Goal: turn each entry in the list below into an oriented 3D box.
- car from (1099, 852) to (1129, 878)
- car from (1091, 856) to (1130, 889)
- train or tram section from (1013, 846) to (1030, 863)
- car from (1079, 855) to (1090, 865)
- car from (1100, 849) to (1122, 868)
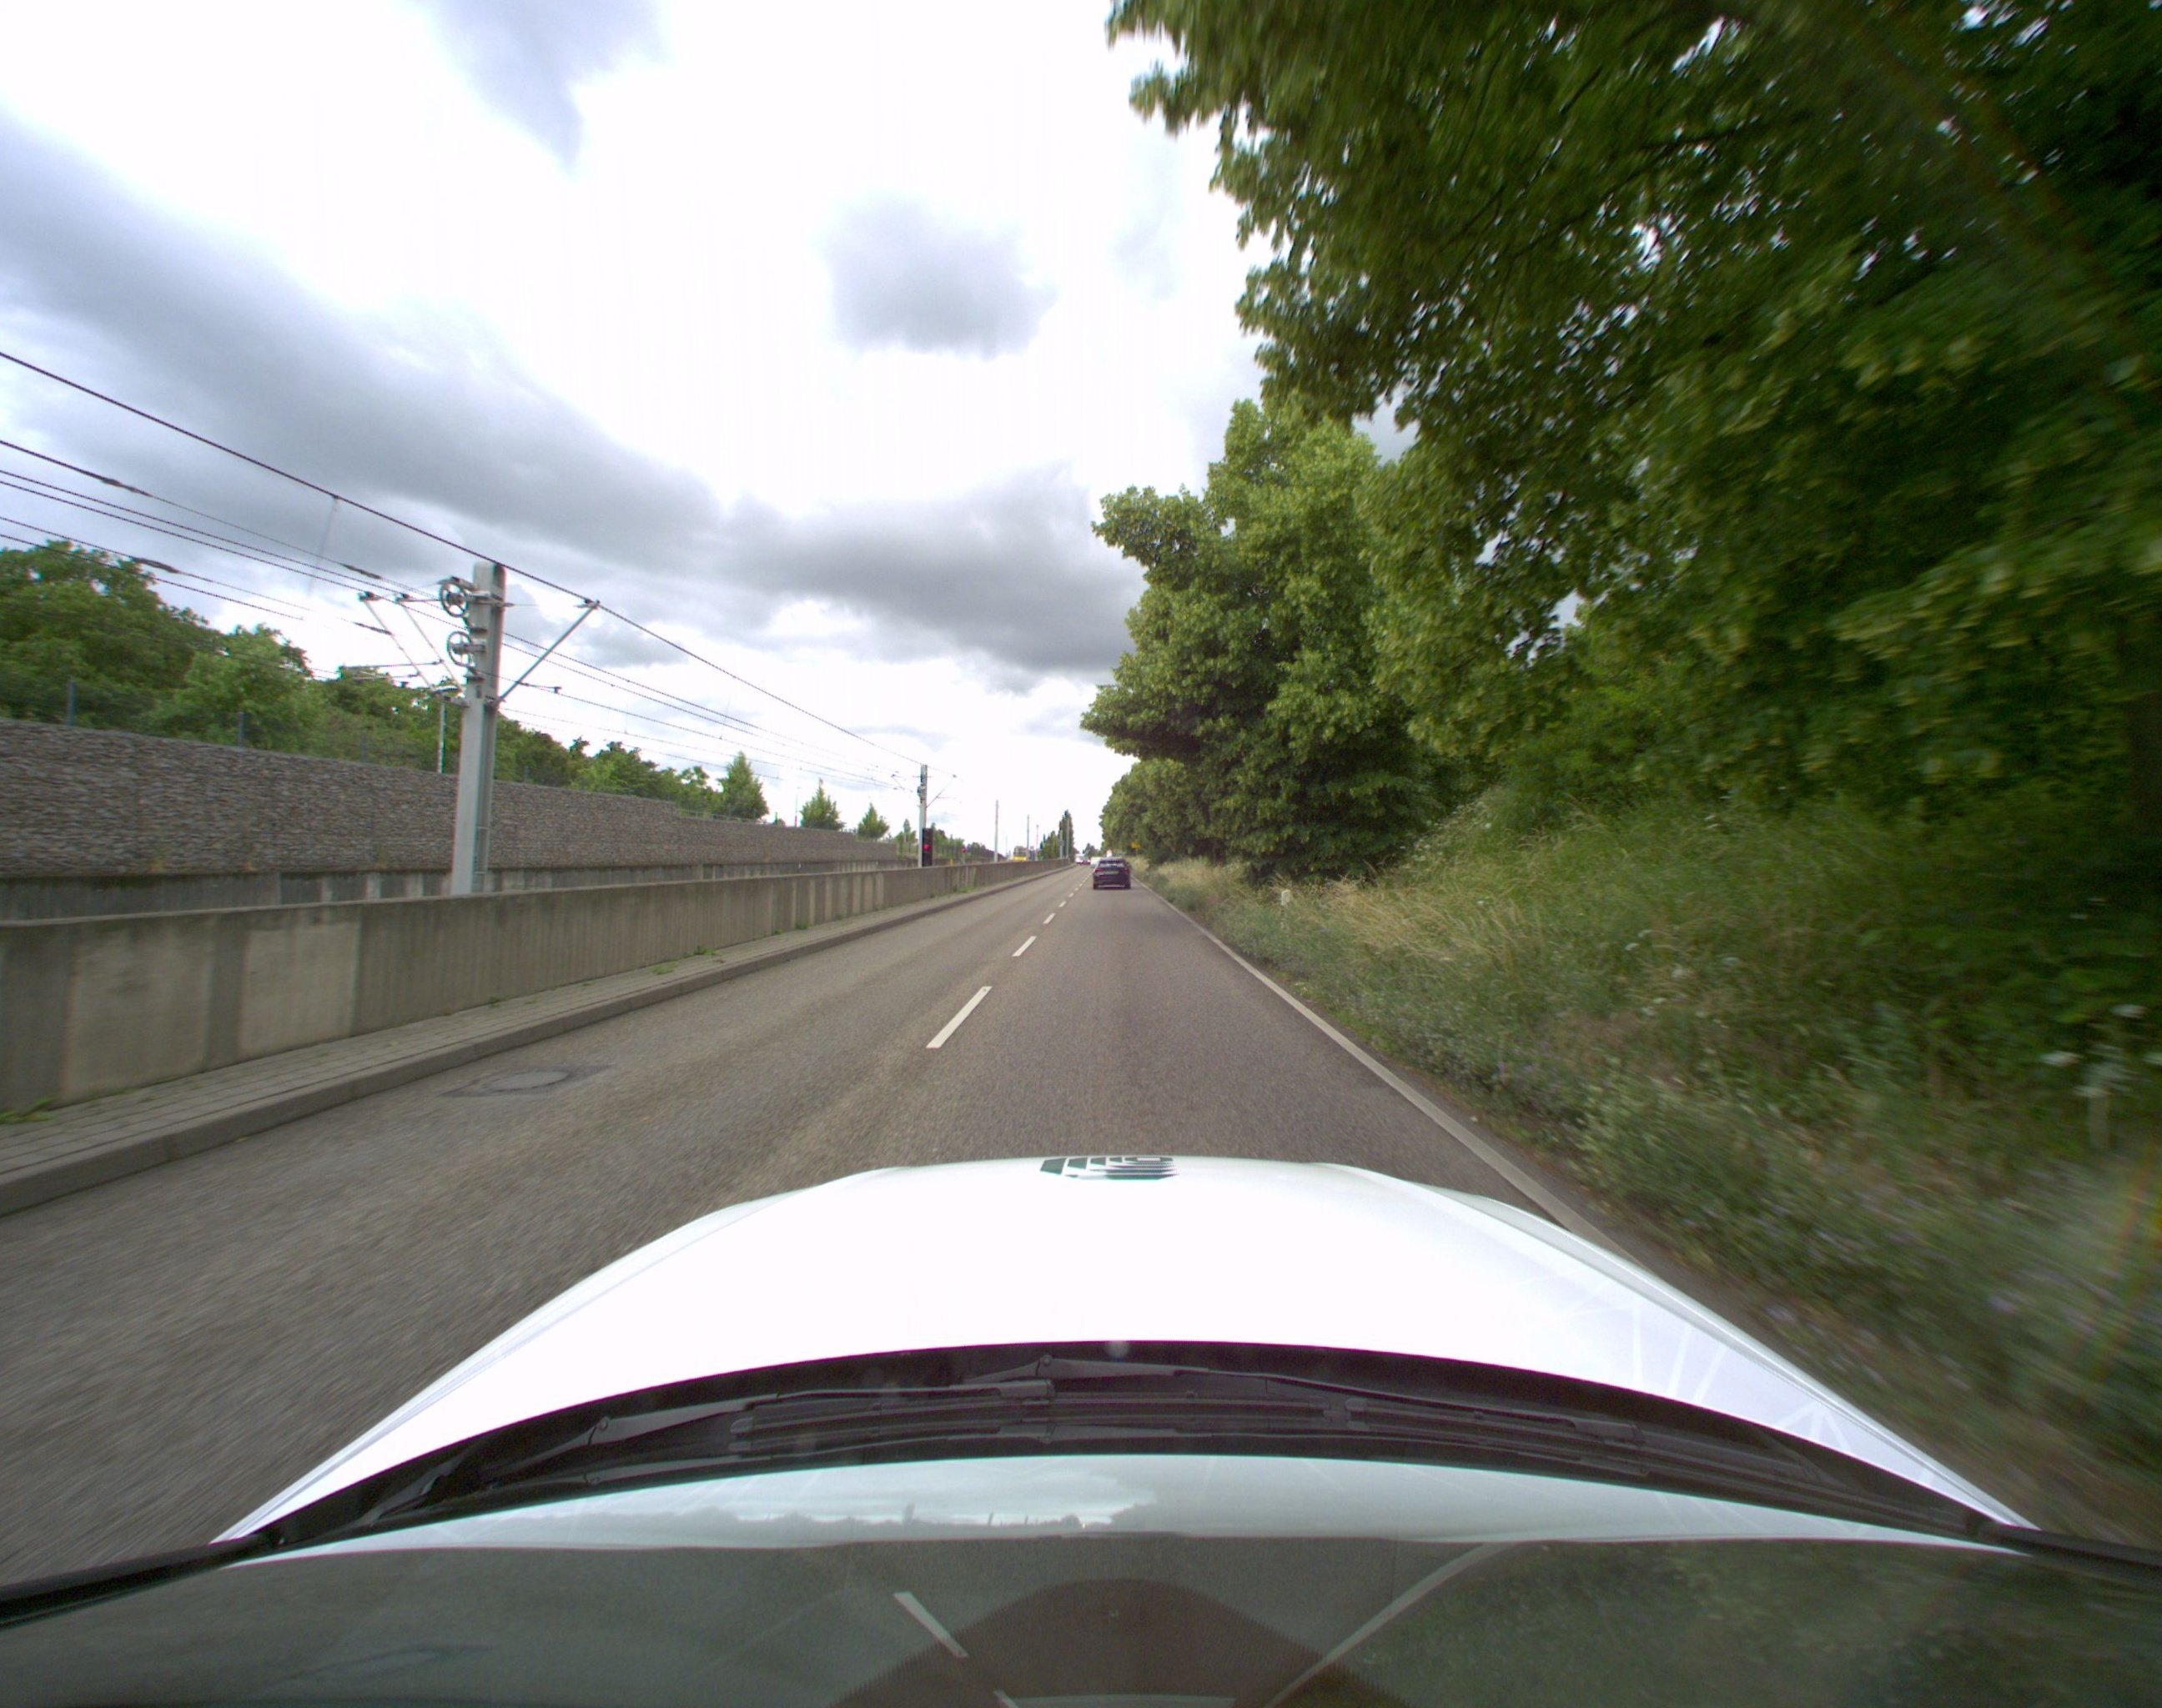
[{"bbox_3d":[2.267,0.729,56.110,1.986,1.753,4.002,-1,0,2],"label":"car"},{"bbox_3d":[1.410,0.853,38.868,1.775,1.468,4.002,-1,0,2],"label":"car"},{"bbox_3d":[-12.420,0.141,167.890,2.808,3.117,18.870,-1,-1,-6],"label":"train or tram section"},{"bbox_3d":[0.637,1.014,138.616,1.657,1.545,3.953,-1,0,1],"label":"car"},{"bbox_3d":[2.884,0.443,78.155,1.986,1.740,4.001,-1,-1,2],"label":"car"}]
